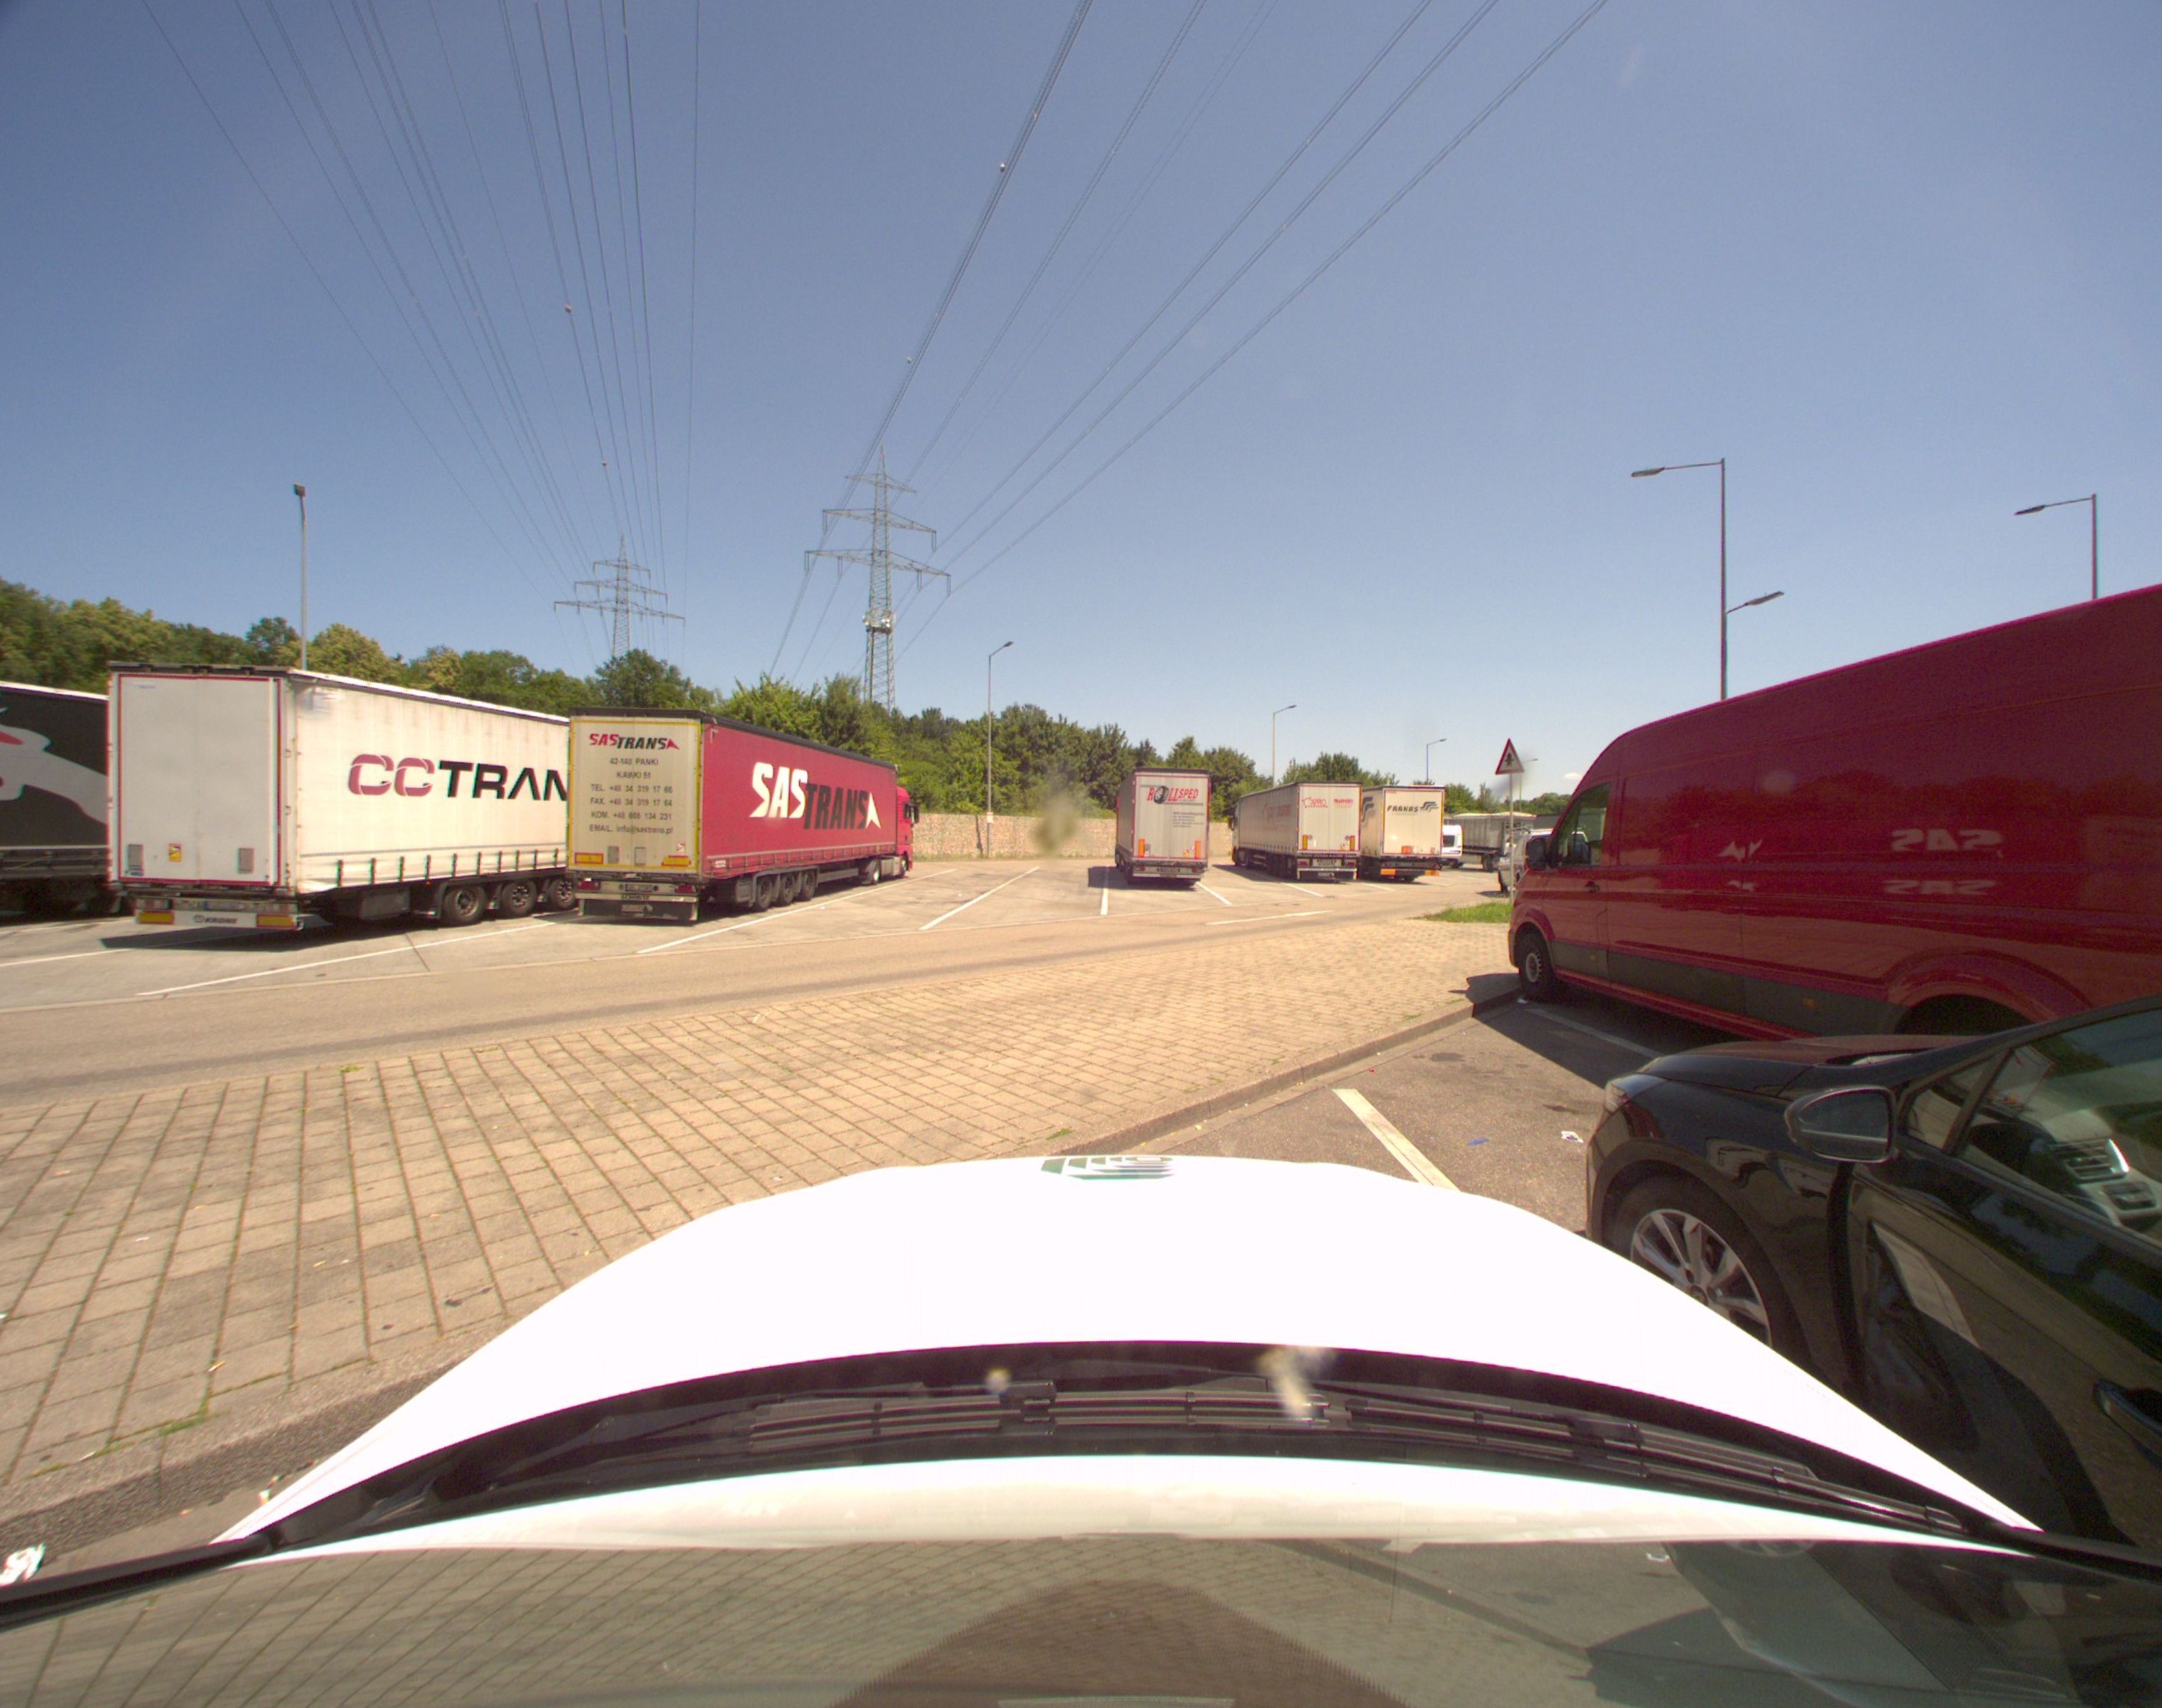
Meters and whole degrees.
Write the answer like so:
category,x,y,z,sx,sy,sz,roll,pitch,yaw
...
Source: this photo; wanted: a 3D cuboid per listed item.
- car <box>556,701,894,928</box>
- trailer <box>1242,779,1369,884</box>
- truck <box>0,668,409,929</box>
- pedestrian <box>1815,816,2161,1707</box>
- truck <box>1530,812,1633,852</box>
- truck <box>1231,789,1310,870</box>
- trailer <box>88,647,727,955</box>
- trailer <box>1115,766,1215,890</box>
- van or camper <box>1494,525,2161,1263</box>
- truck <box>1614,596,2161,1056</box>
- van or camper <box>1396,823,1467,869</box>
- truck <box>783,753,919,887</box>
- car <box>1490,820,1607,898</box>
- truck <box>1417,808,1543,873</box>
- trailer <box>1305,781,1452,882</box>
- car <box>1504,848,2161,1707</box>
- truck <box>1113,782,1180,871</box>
category,x,y,z,sx,sy,sz,roll,pitch,yaw
car,-8.048,-0.935,21.438,2.686,4.112,12.943,1,2,2
trailer,9.956,-1.106,37.907,2.856,4.037,12.445,0,2,2
truck,-18.616,-1.022,16.275,2.803,4.190,8.793,0,2,2
pedestrian,1.628,0.738,1.306,0.646,1.586,0.652,0,1,44
truck,38.036,-1.650,62.383,2.117,2.820,9.783,-1,1,2
truck,10.182,-1.371,44.539,2.856,4.037,6.960,0,2,2
trailer,-12.161,-0.976,17.794,2.803,4.266,12.947,0,2,2
trailer,3.047,-1.106,33.734,2.857,4.037,14.244,0,2,1
van or camper,5.140,0.098,5.498,1.986,2.654,6.490,-1,1,6
truck,7.940,-0.213,7.070,2.455,2.792,6.978,0,1,4
van or camper,20.681,-0.492,48.315,2.096,2.561,5.376,-1,1,3
truck,-7.748,-1.154,28.355,2.686,4.112,6.243,1,2,2
car,14.319,0.106,25.303,1.978,2.150,5.336,0,1,16
truck,24.302,-0.962,50.505,2.478,3.568,11.429,0,2,2
trailer,13.643,-1.127,38.882,2.856,4.037,12.445,0,2,2
car,2.456,0.754,1.146,1.612,1.483,3.762,-1,1,-4
truck,3.140,-1.396,40.822,2.857,4.037,7.029,0,2,1
